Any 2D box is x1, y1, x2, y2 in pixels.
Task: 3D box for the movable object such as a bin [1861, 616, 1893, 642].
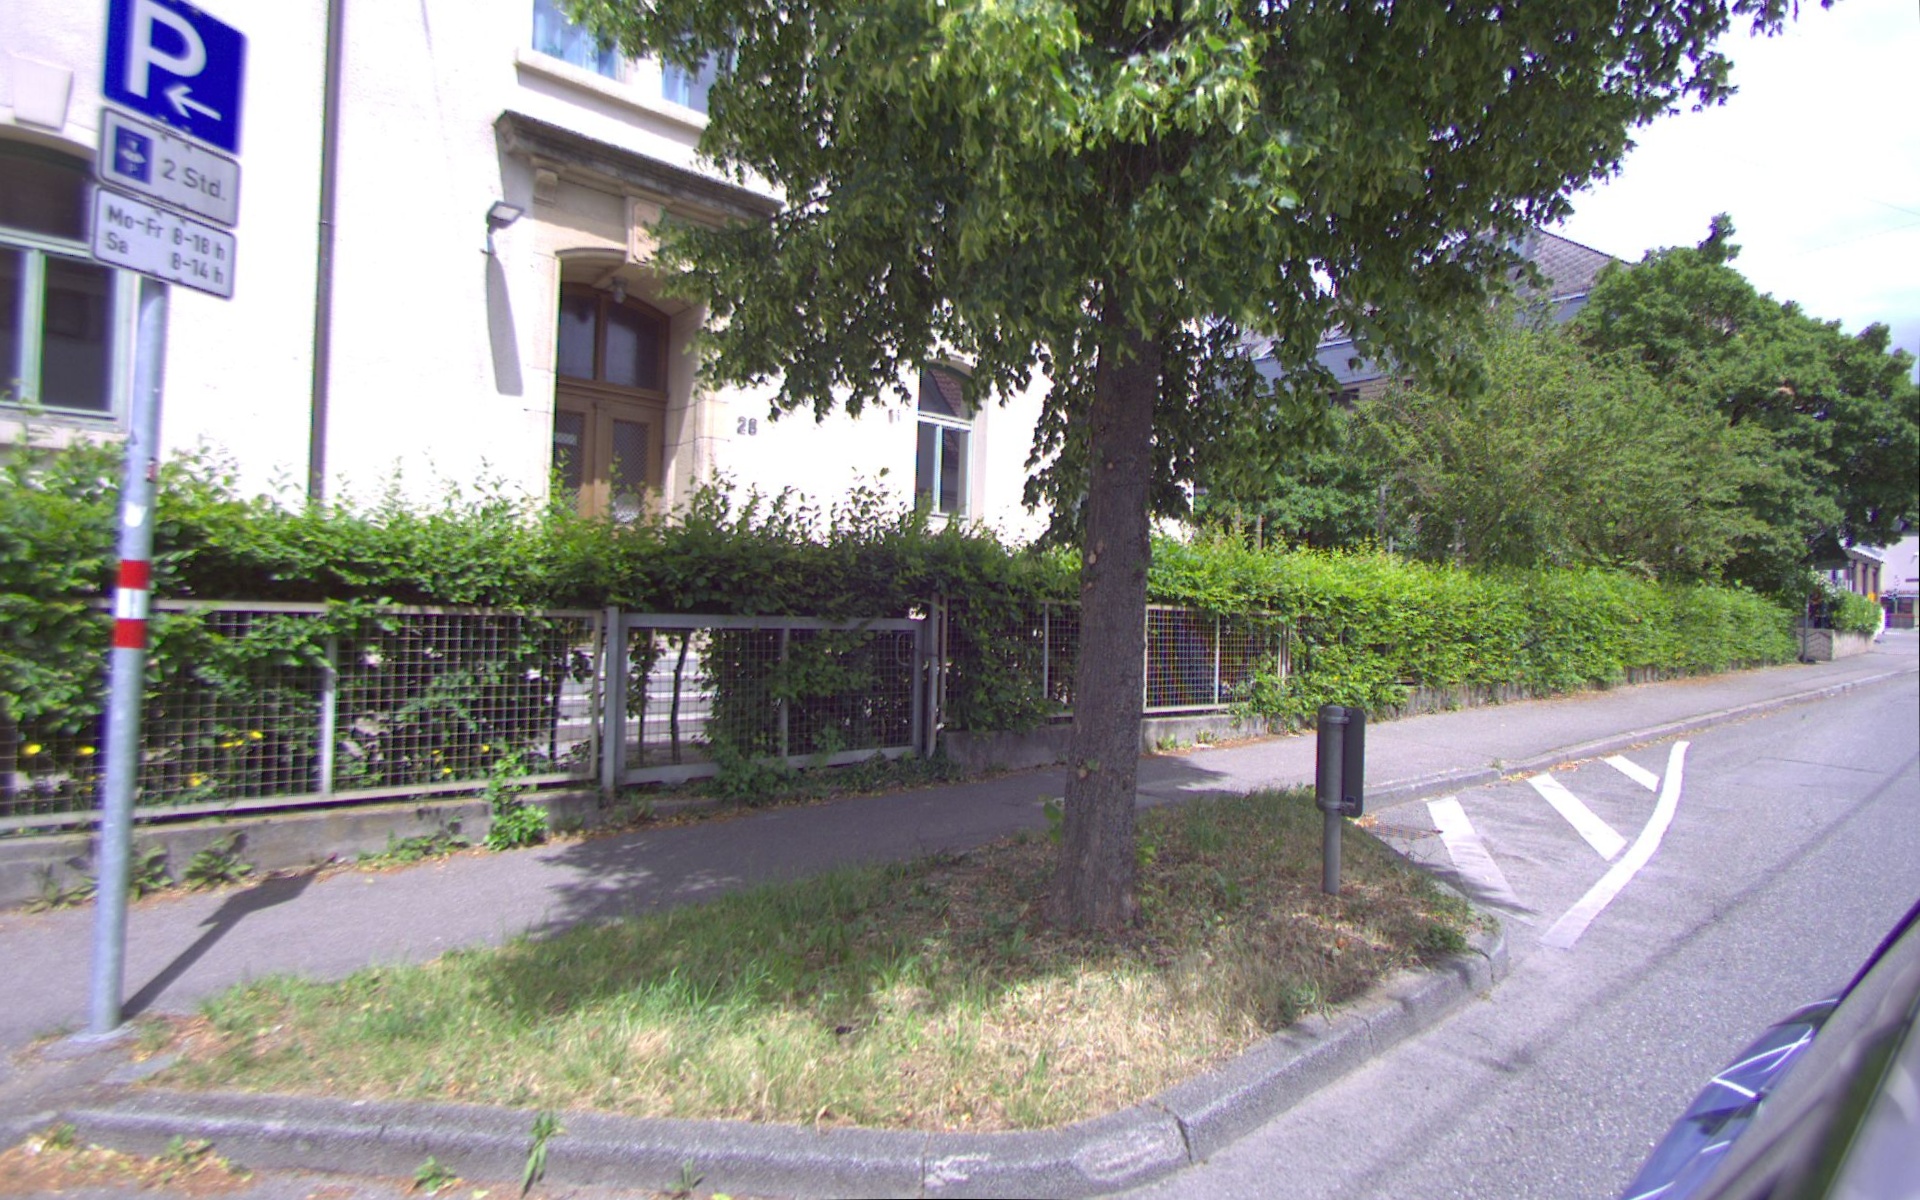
[{"bbox_3d":[35.980,1.129,39.707,0.462,0.925,0.789,1,5,-41],"label":"movable object such as a bin"}]
